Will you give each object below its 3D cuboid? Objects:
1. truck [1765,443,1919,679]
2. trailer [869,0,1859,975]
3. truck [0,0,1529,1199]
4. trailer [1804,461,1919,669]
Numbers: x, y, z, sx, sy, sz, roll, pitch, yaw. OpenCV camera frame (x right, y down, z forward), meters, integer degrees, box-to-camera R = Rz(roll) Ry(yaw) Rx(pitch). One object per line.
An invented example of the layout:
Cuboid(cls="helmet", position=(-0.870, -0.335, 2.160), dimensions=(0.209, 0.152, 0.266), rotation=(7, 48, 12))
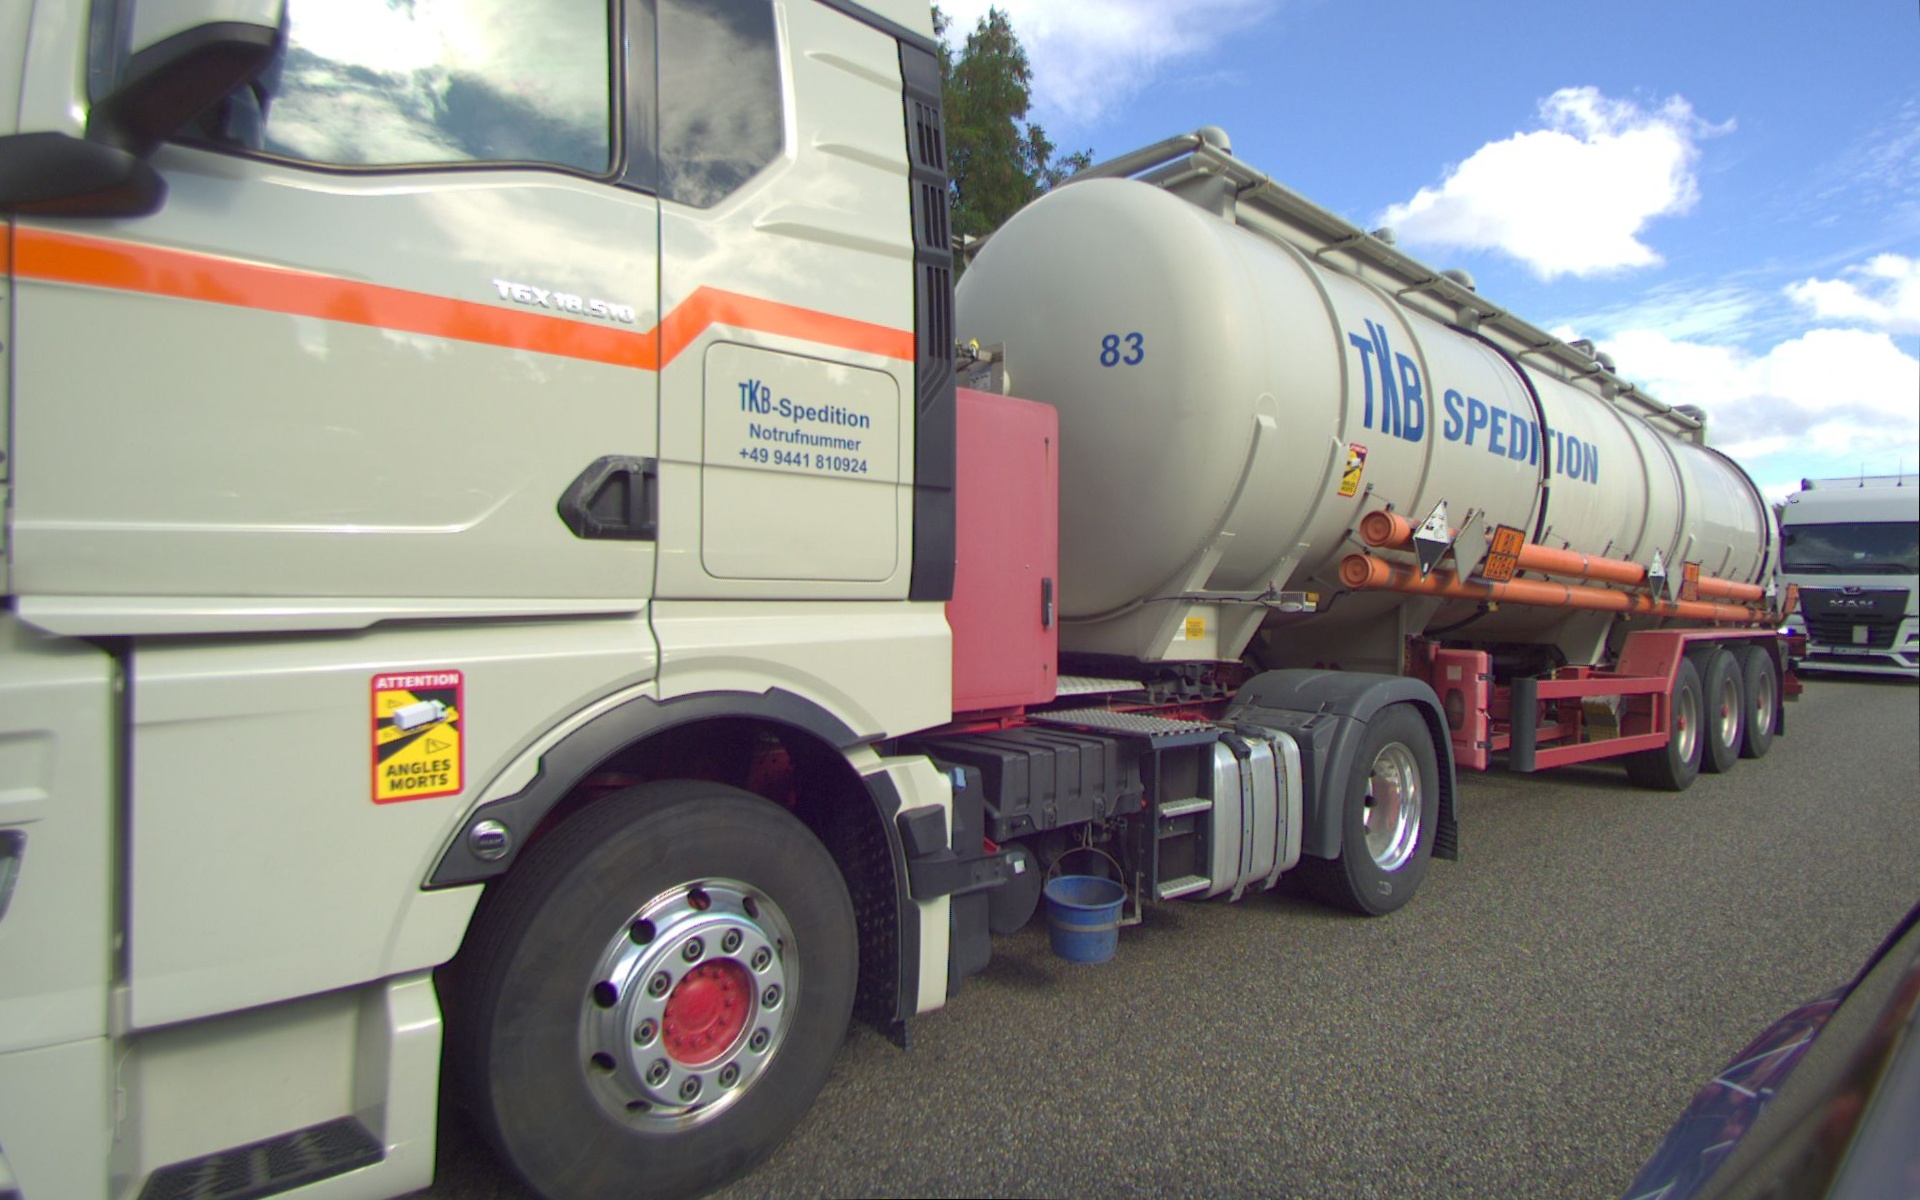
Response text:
Cuboid(cls="truck", position=(18.379, -0.701, 20.012), dimensions=(5.607, 4.123, 2.839), rotation=(0, 0, -40))
Cuboid(cls="trailer", position=(4.547, -0.707, 8.346), dimensions=(10.984, 4.077, 2.803), rotation=(0, 0, -40))
Cuboid(cls="truck", position=(-0.255, -0.695, 4.265), dimensions=(5.799, 4.094, 2.808), rotation=(0, 0, -40))
Cuboid(cls="trailer", position=(23.831, -0.725, 24.675), dimensions=(13.136, 4.122, 2.831), rotation=(0, 0, -40))
